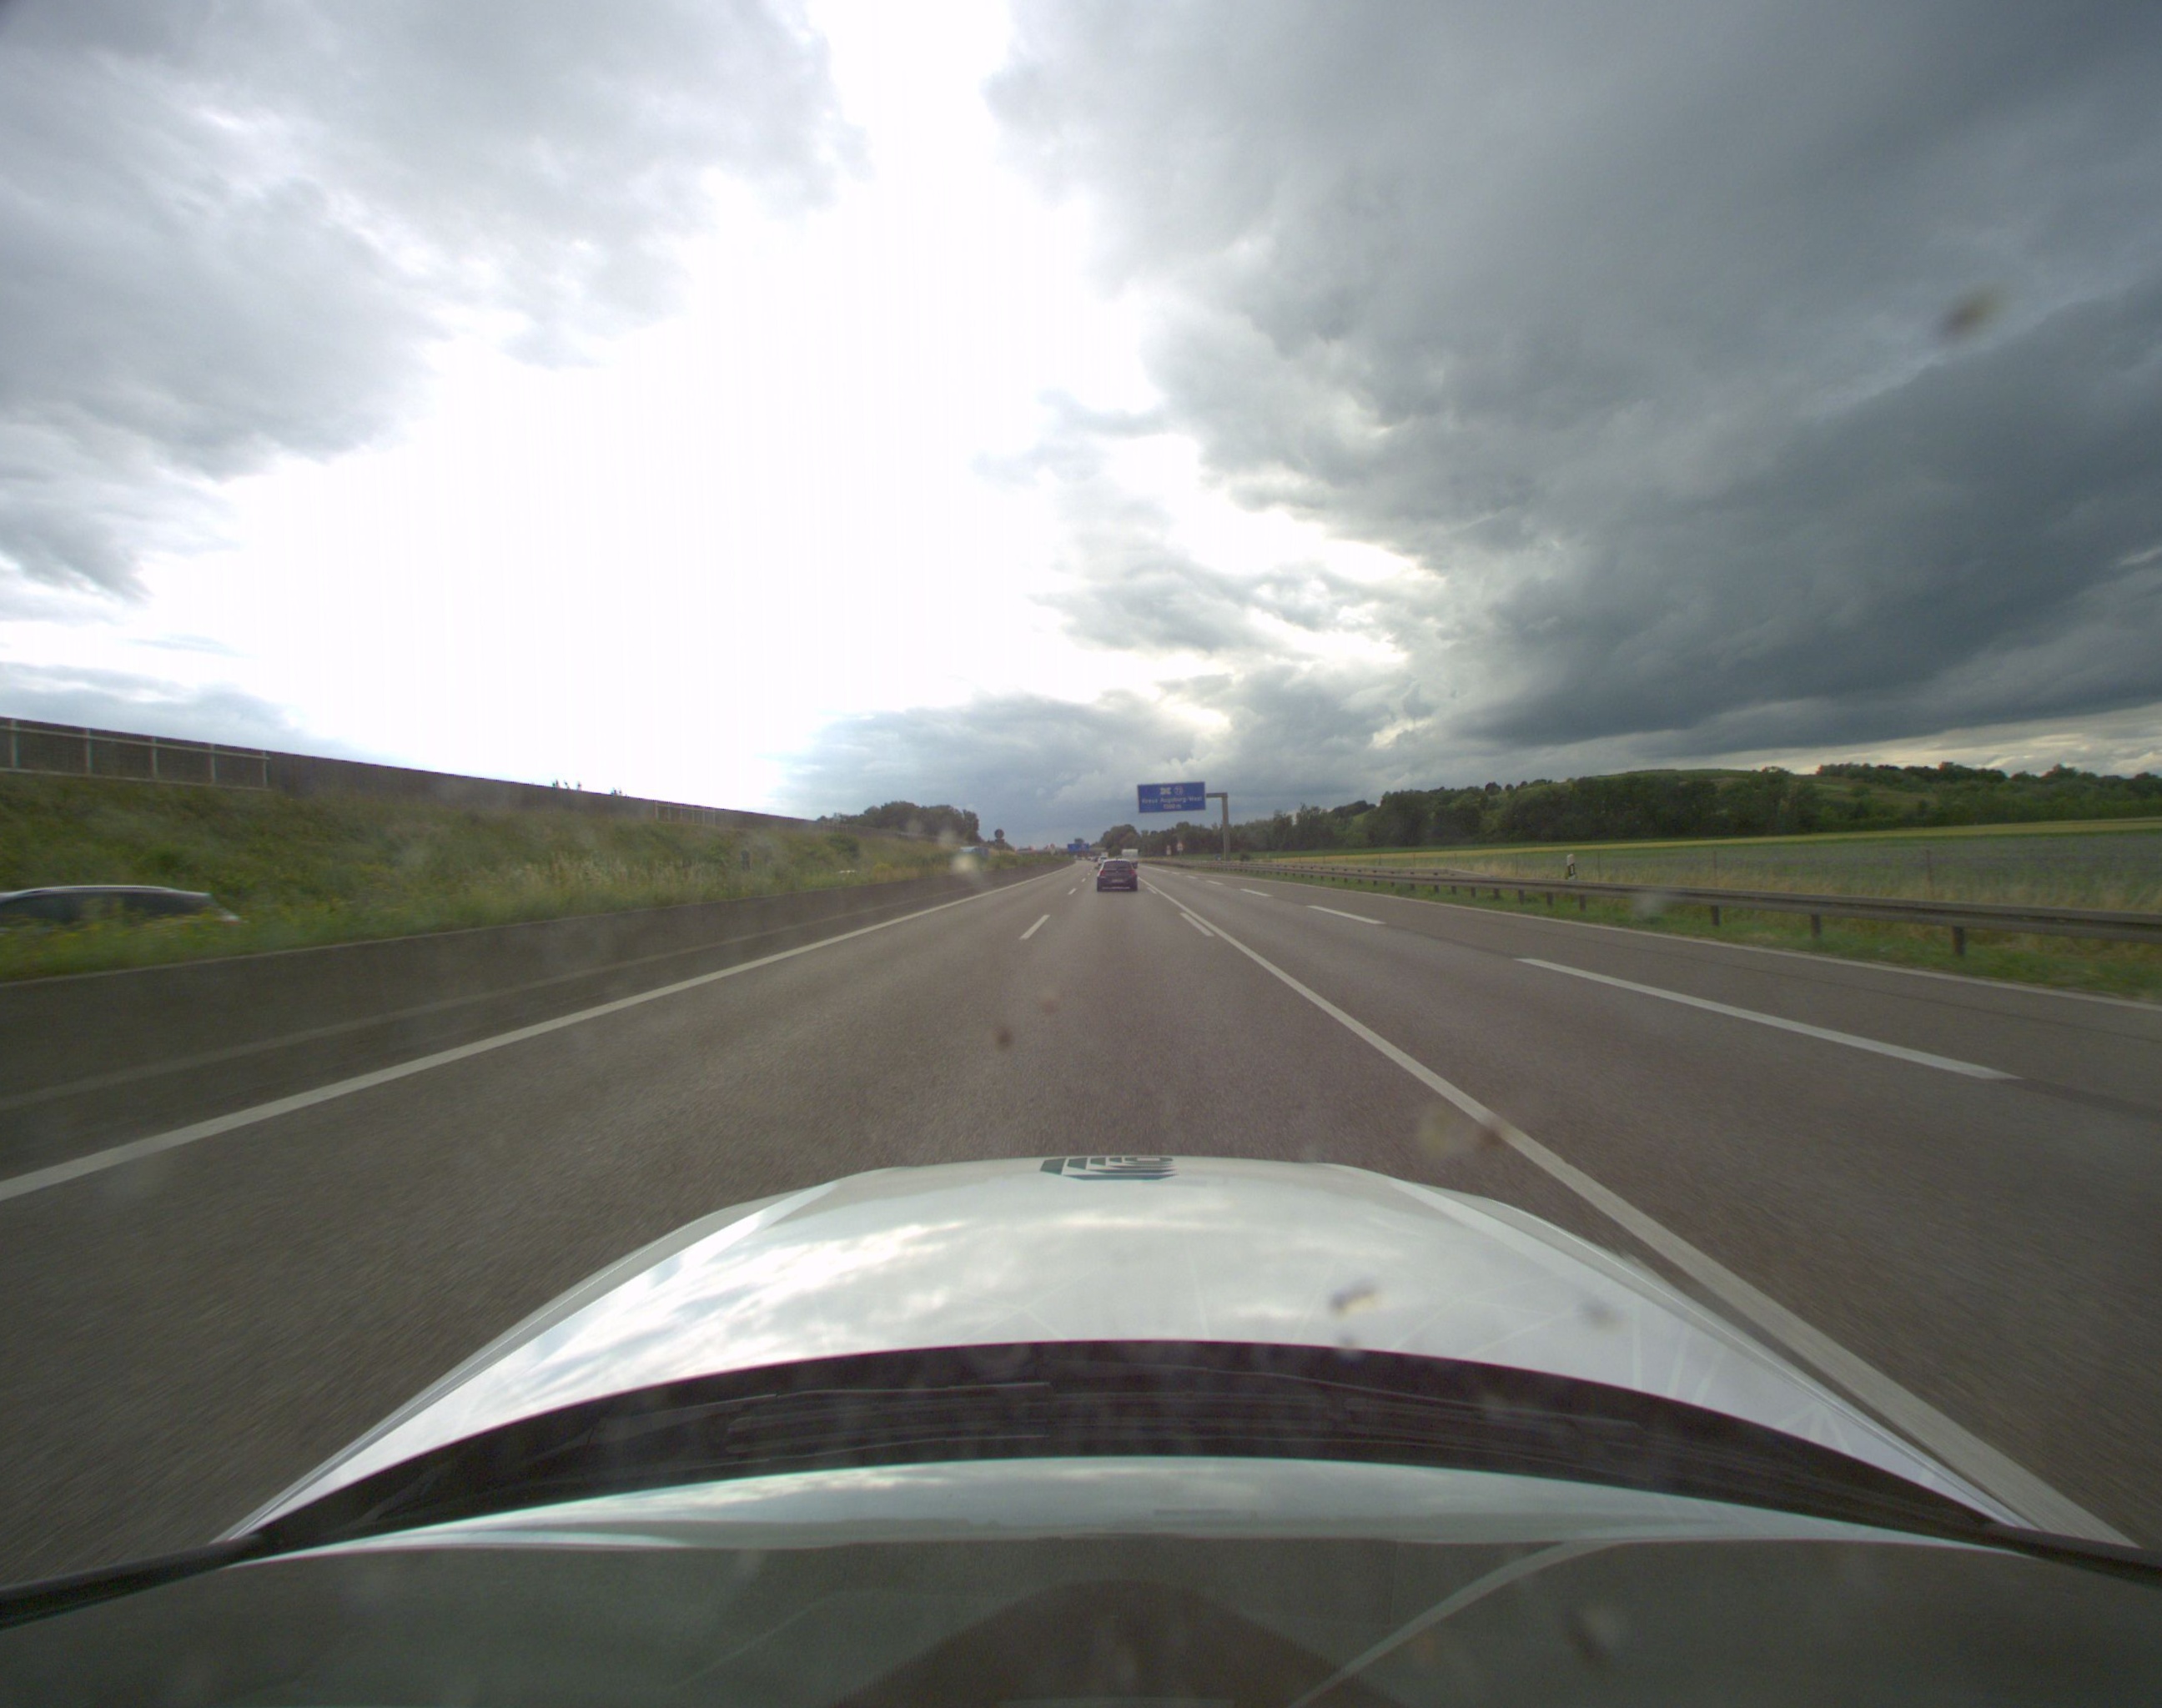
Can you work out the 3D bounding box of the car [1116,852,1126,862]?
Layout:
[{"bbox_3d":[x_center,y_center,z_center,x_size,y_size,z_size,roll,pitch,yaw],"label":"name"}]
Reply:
[{"bbox_3d":[8.467,0.616,174.640,1.986,2.013,4.001,-3,0,2],"label":"car"}]

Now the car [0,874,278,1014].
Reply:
[{"bbox_3d":[-12.063,0.989,9.757,1.530,1.389,3.333,-1,0,1],"label":"car"}]

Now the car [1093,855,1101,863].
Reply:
[{"bbox_3d":[4.457,1.349,224.782,1.986,2.013,4.001,-3,0,2],"label":"car"}]

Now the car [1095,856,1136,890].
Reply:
[{"bbox_3d":[1.543,0.796,36.506,1.736,1.389,4.002,-1,0,2],"label":"car"}]

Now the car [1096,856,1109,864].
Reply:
[{"bbox_3d":[3.439,0.956,130.248,1.986,1.298,4.001,-3,0,1],"label":"car"}]

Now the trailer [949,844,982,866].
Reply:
[{"bbox_3d":[-16.906,0.152,119.992,2.927,3.011,11.621,0,0,2],"label":"trailer"}]

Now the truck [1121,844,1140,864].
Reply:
[{"bbox_3d":[7.688,0.031,127.888,2.700,2.964,12.452,0,0,2],"label":"truck"}]
